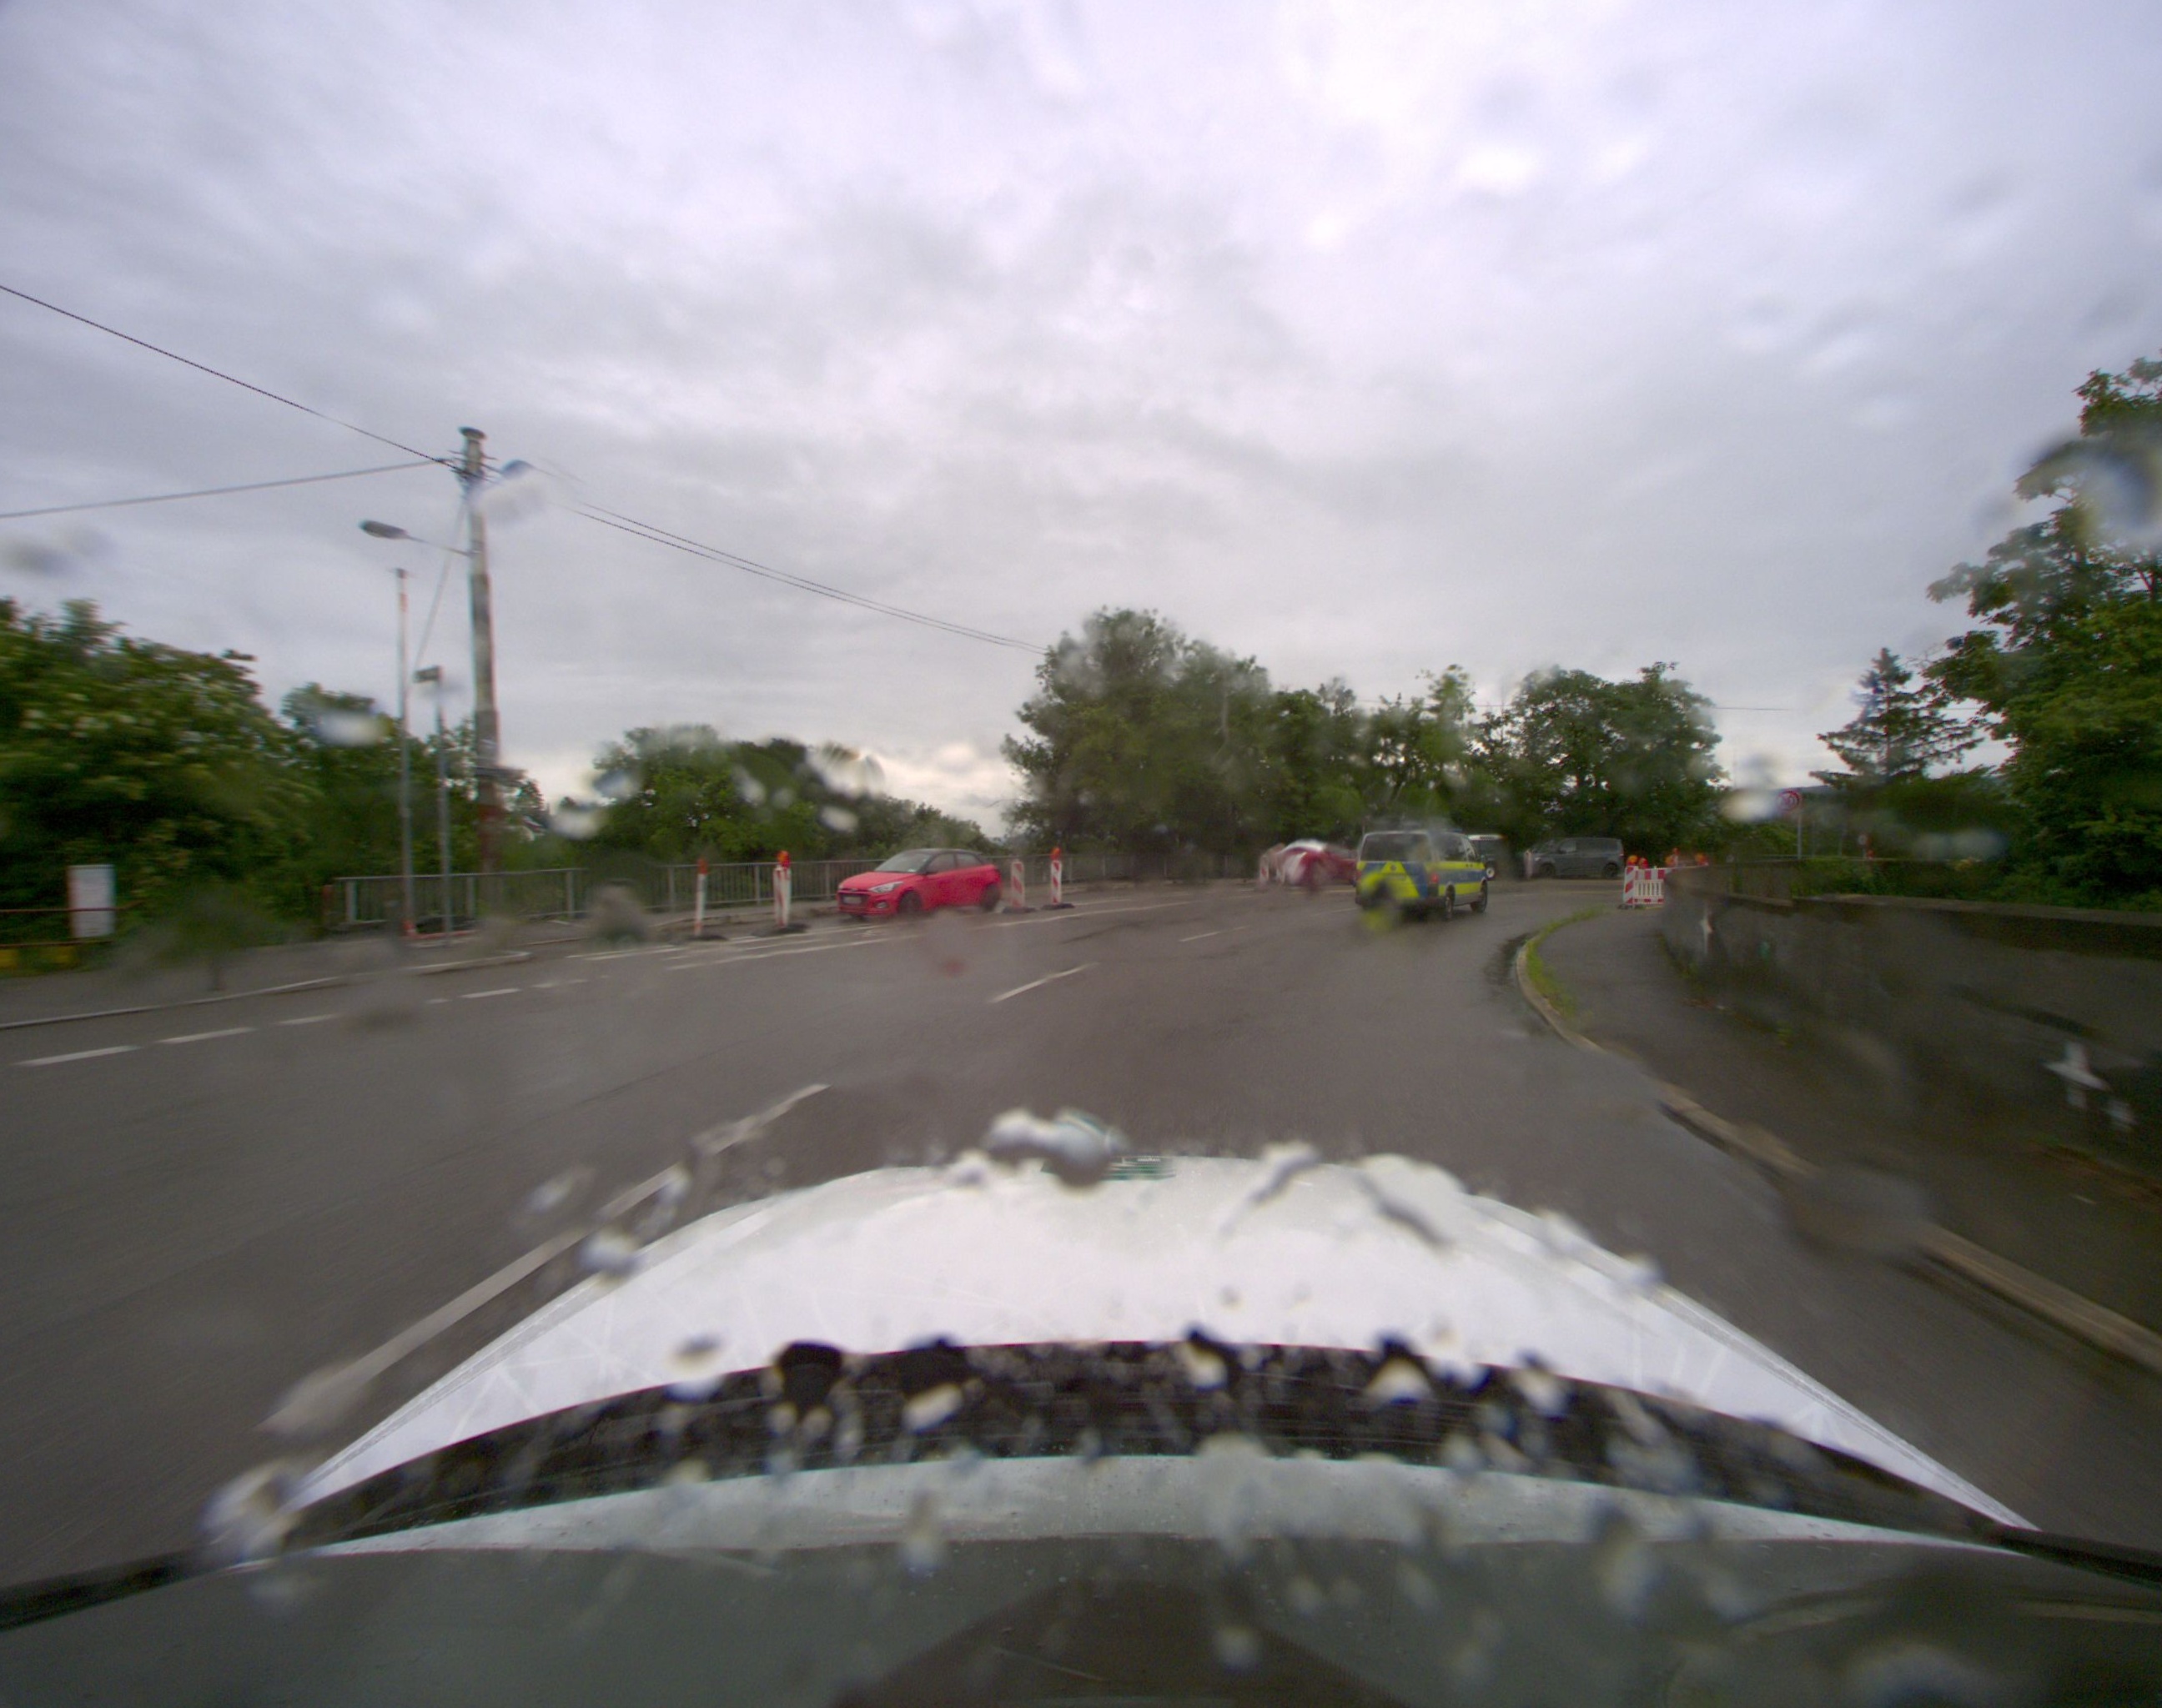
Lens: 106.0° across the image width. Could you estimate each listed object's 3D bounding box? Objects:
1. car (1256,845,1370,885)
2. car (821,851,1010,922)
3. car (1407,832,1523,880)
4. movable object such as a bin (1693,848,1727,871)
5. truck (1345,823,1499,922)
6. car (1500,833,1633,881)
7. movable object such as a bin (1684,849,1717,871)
[{"bbox_3d":[9.135,0.395,32.017,4.338,1.440,1.947,-1,1,-32],"label":"car"},{"bbox_3d":[-3.547,0.653,18.205,1.669,1.398,4.162,-1,-1,34],"label":"car"},{"bbox_3d":[16.933,0.037,35.929,4.817,2.013,1.858,-1,2,-22],"label":"car"},{"bbox_3d":[32.027,0.269,41.461,1.017,1.106,0.992,2,1,12],"label":"movable object such as a bin"},{"bbox_3d":[8.073,0.392,19.022,1.974,2.014,4.764,-1,-1,40],"label":"truck"},{"bbox_3d":[21.974,0.116,36.952,4.926,2.013,1.997,1,2,-6],"label":"car"},{"bbox_3d":[32.303,0.296,42.484,1.017,1.106,0.992,0,0,12],"label":"movable object such as a bin"}]
